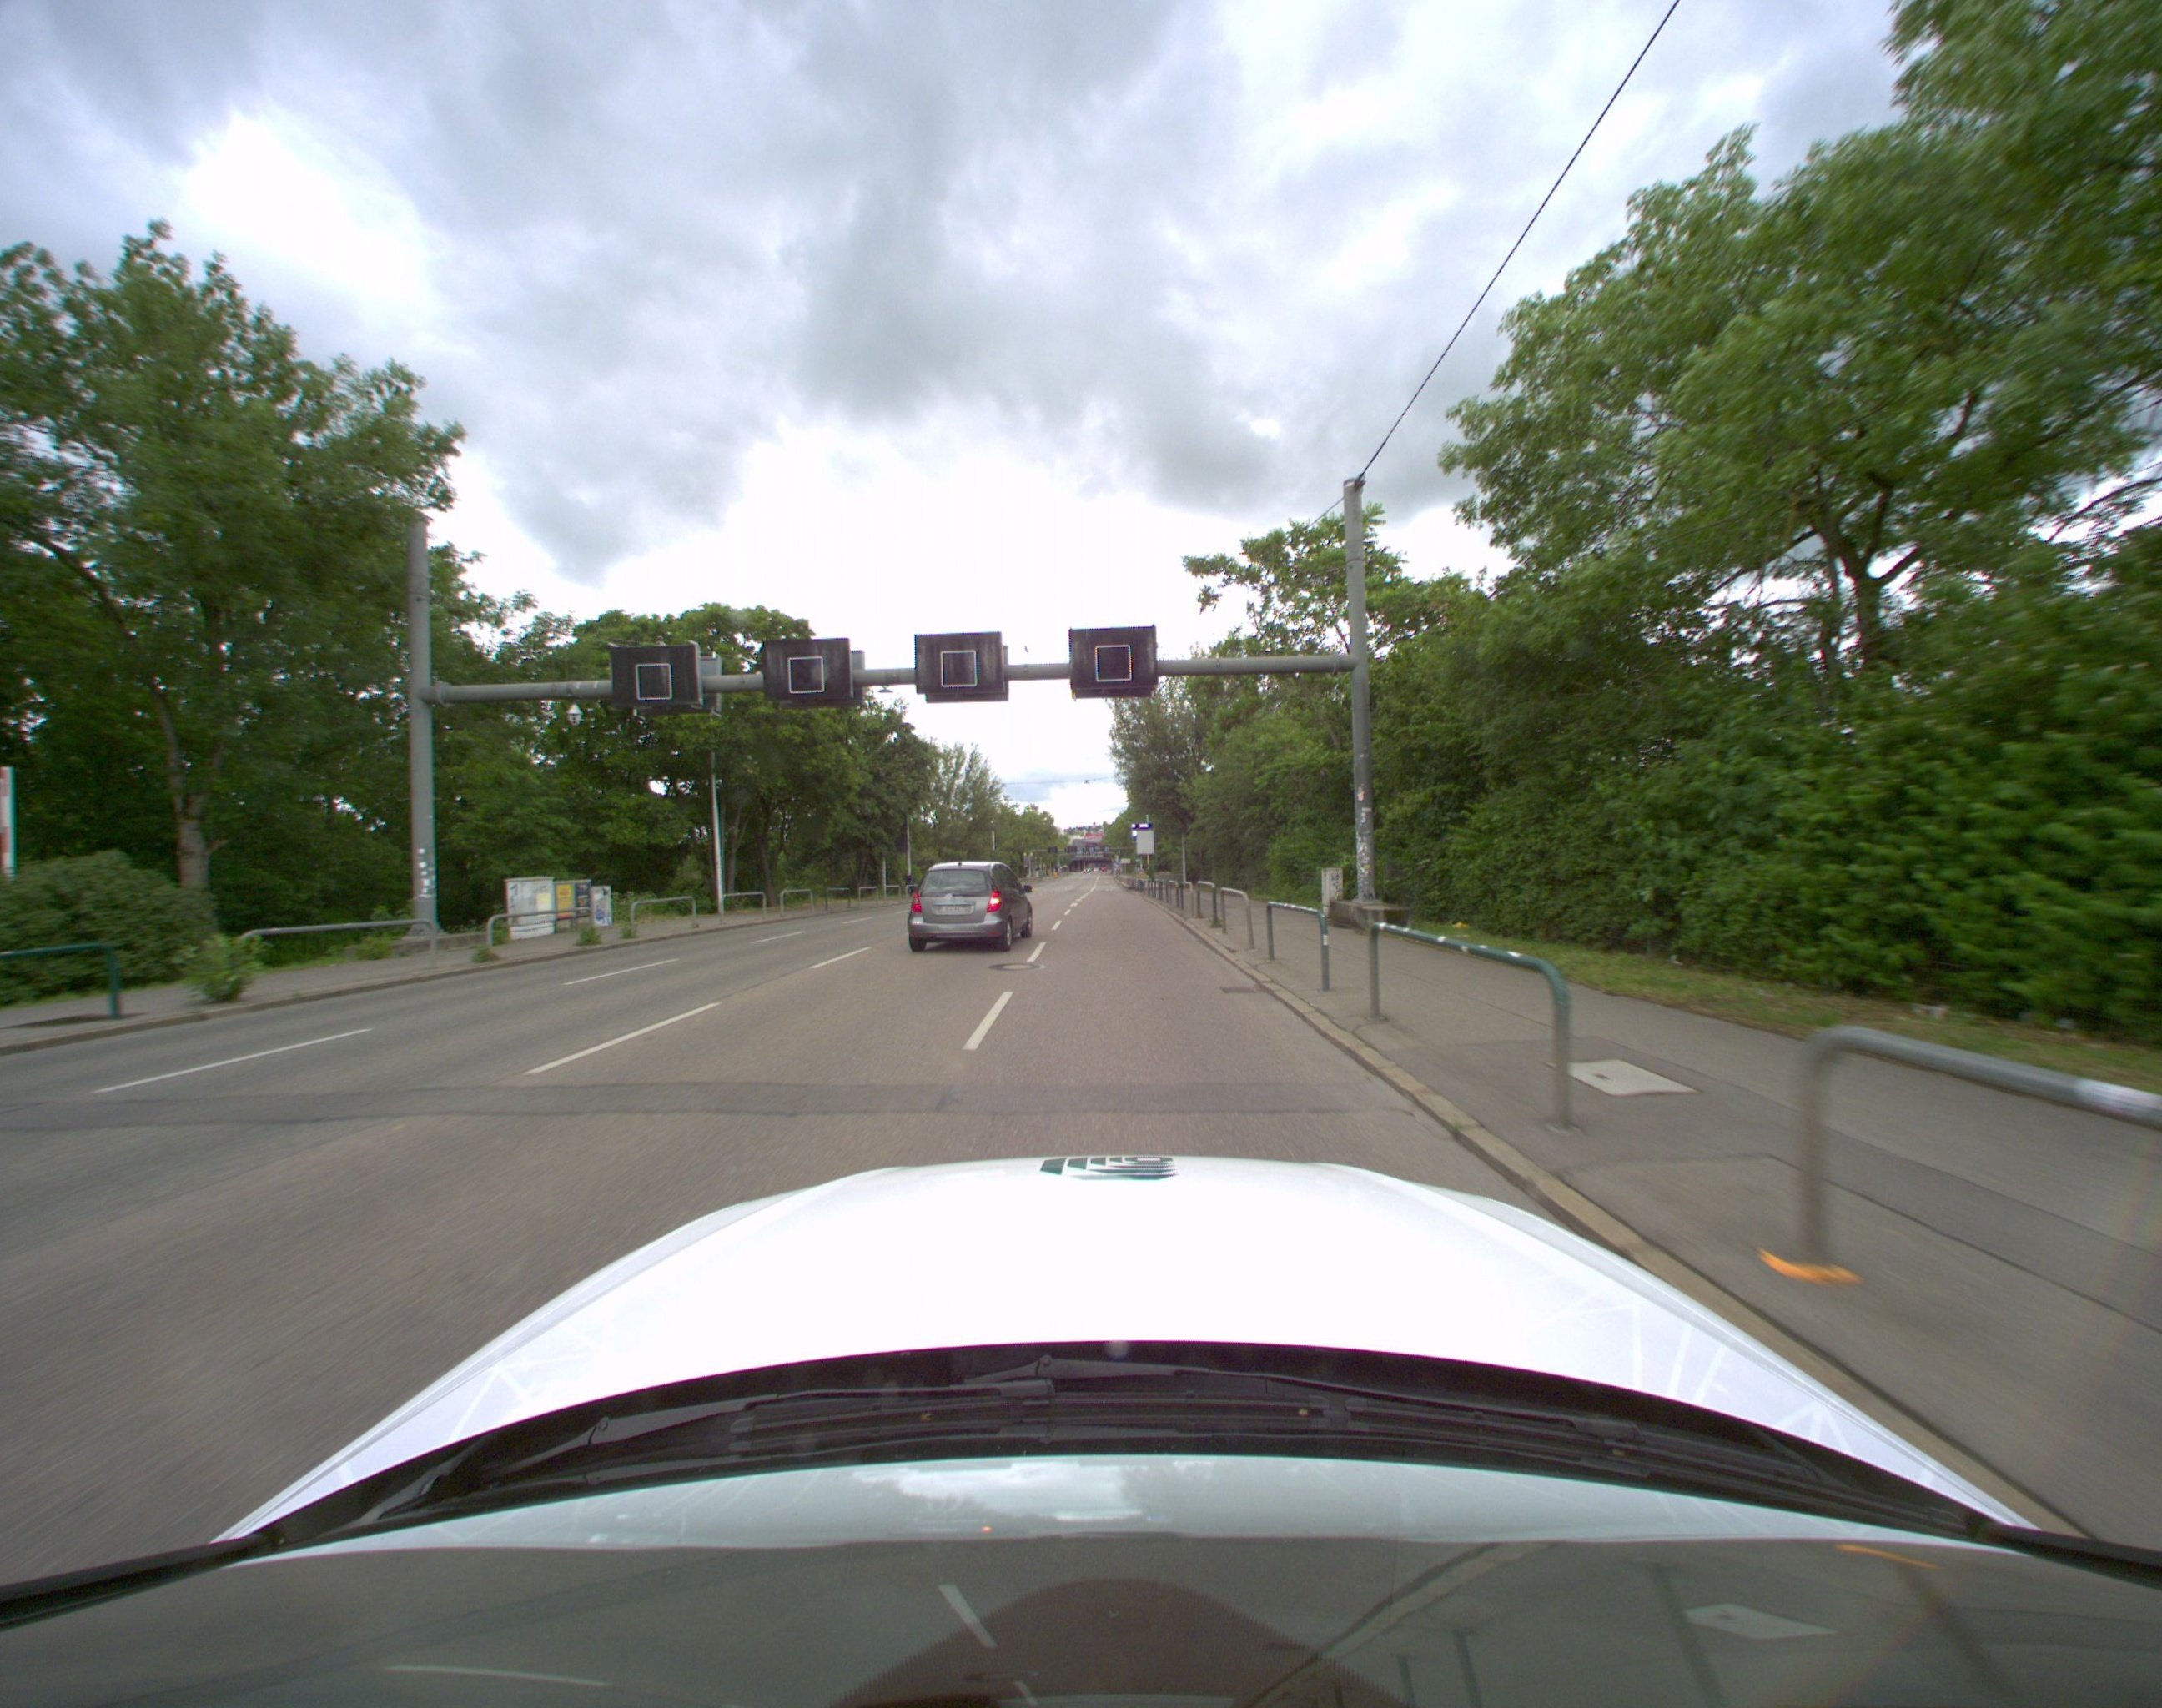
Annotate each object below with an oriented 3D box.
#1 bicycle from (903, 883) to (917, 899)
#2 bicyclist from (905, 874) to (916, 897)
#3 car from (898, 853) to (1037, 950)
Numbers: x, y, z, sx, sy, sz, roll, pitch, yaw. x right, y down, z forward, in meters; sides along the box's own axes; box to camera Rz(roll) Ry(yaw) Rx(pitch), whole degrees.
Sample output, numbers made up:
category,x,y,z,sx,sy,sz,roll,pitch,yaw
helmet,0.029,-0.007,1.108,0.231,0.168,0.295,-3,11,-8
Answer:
category,x,y,z,sx,sy,sz,roll,pitch,yaw
bicycle,-11.668,2.498,55.542,0.483,1.002,2.001,-2,-2,0
bicyclist,-11.651,2.125,55.570,0.513,1.516,0.984,-2,-2,0
car,-2.000,0.861,15.599,1.818,1.616,4.038,0,-2,4
